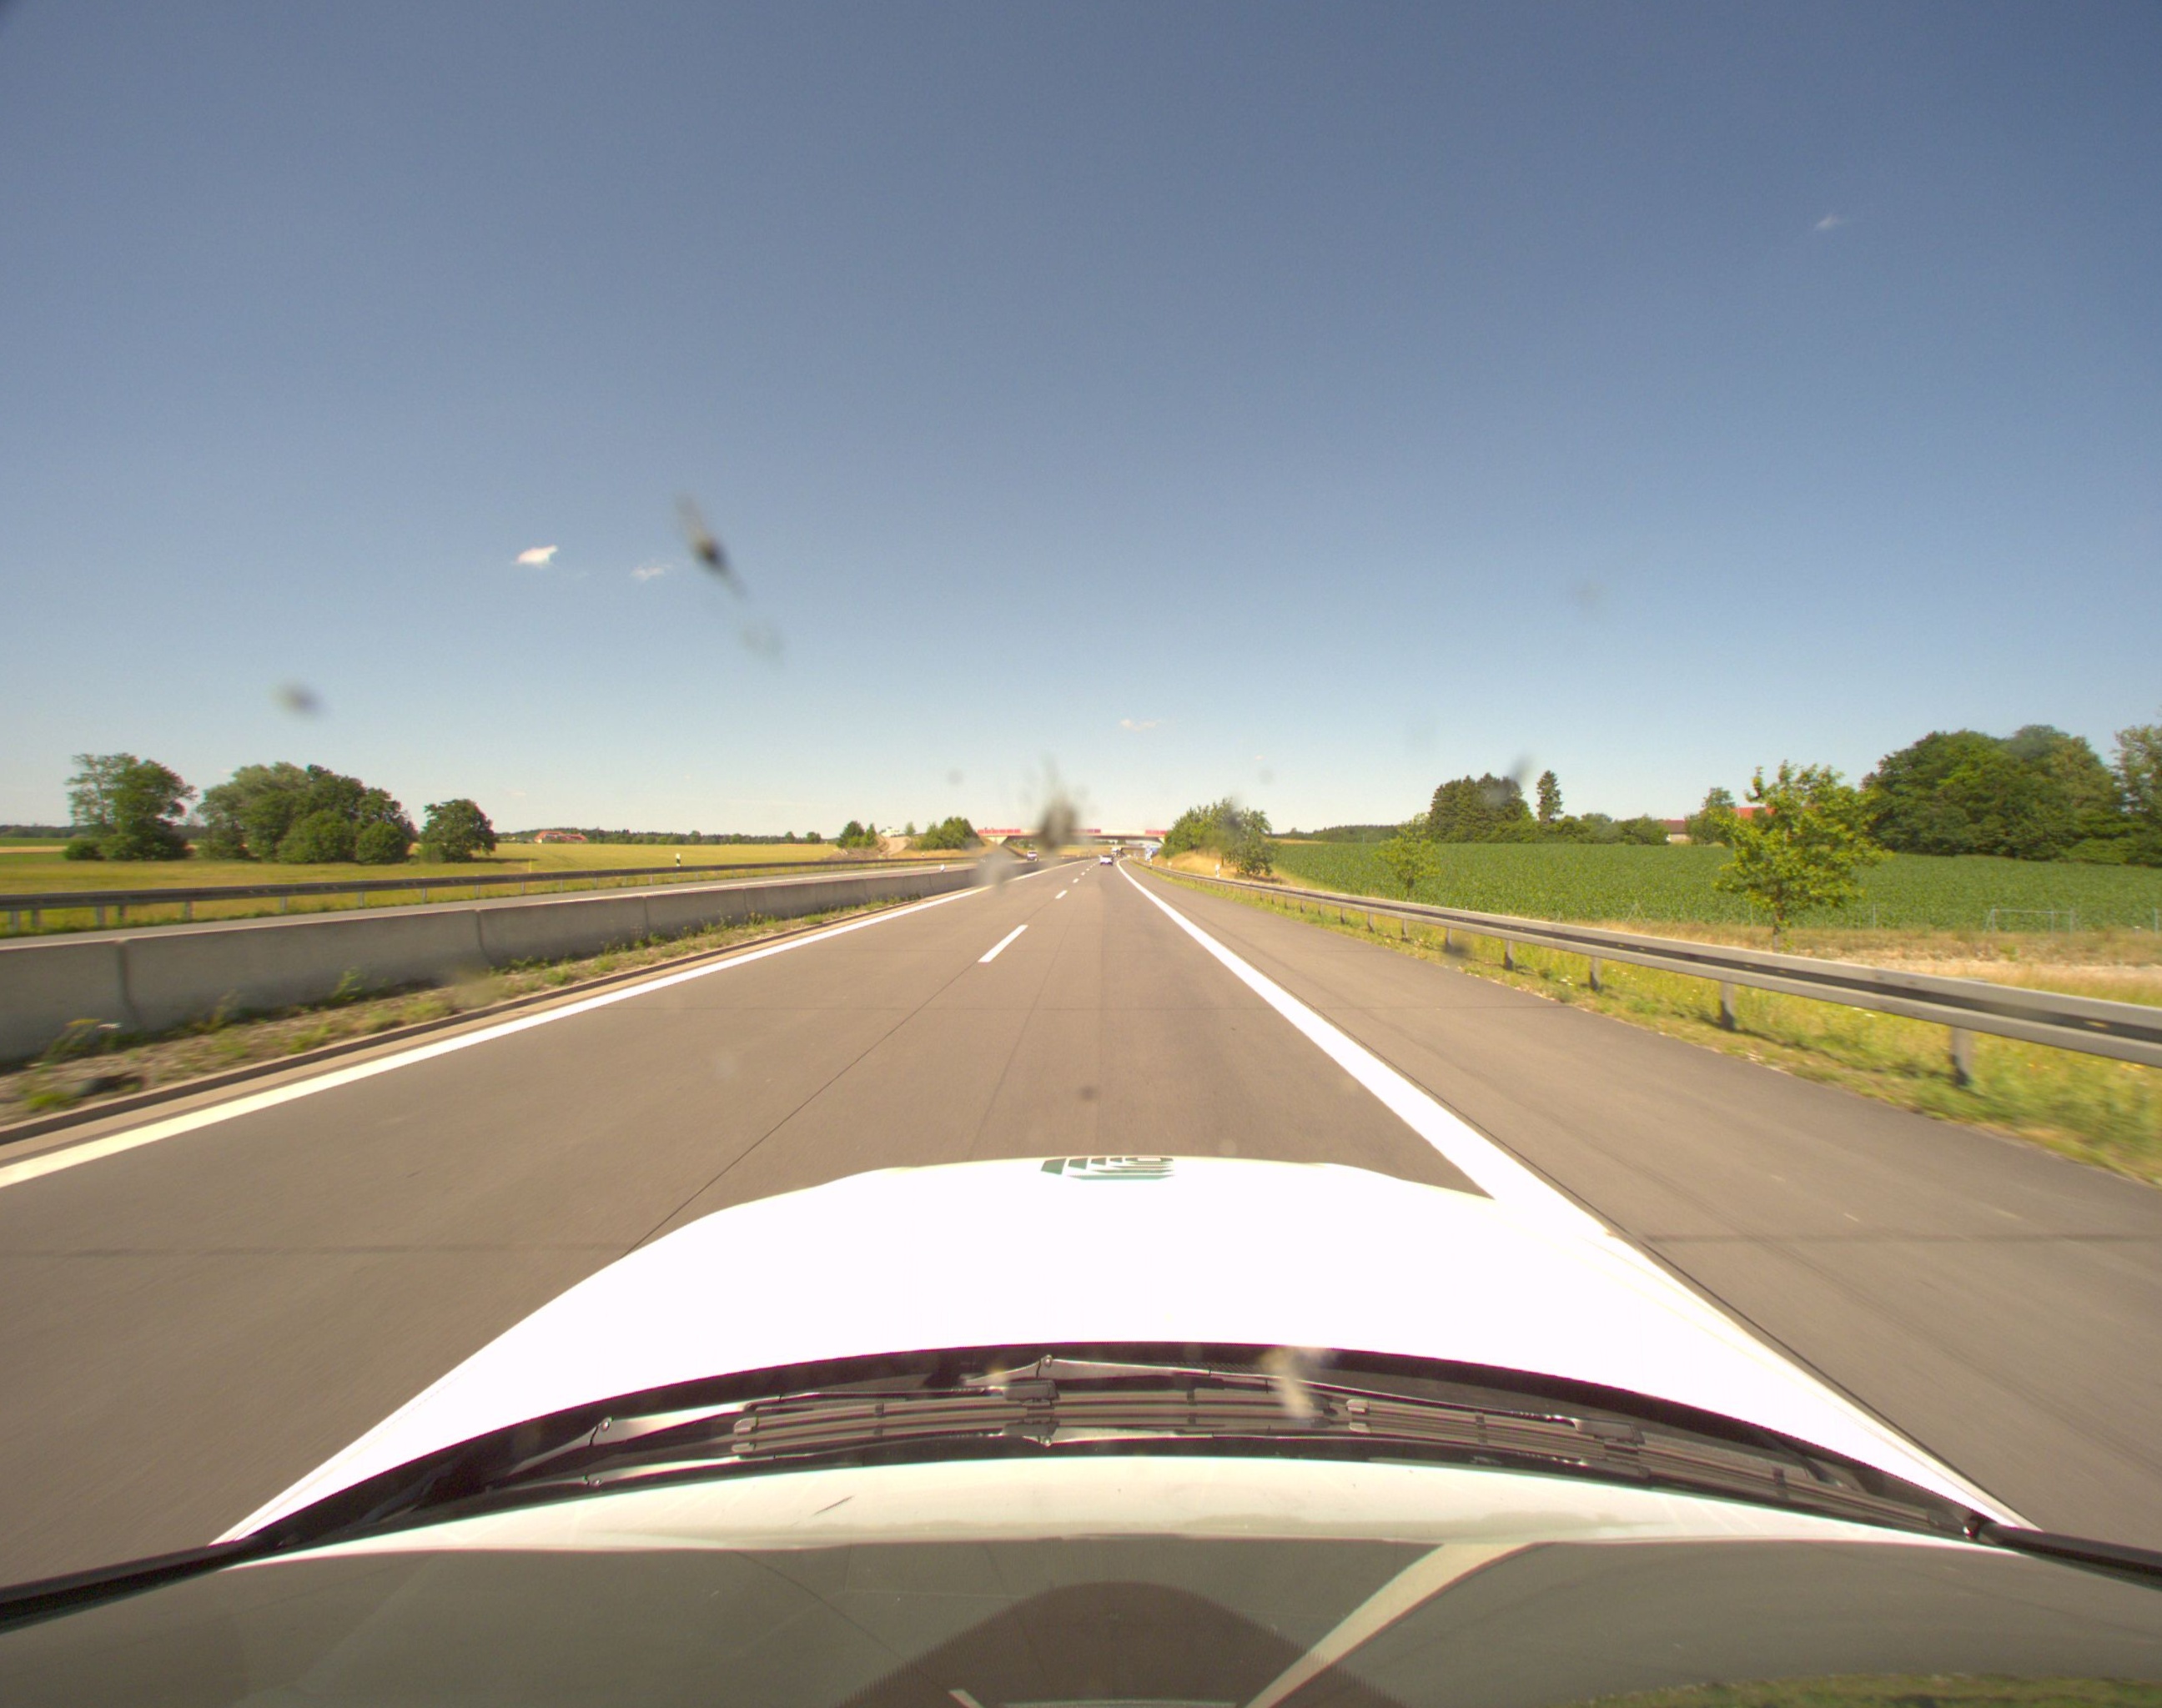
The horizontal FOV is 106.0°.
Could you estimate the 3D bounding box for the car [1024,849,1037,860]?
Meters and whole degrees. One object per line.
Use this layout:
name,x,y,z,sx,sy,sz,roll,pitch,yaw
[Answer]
car,-9.674,0.162,157.641,1.987,2.014,5.716,3,-1,1

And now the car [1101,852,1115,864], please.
car,3.922,0.602,120.144,1.986,1.731,4.870,0,0,1

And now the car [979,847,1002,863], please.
car,-10.651,0.077,96.305,1.900,1.685,5.009,3,1,2

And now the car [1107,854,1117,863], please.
car,6.547,0.924,172.195,1.984,1.731,4.875,0,0,5
